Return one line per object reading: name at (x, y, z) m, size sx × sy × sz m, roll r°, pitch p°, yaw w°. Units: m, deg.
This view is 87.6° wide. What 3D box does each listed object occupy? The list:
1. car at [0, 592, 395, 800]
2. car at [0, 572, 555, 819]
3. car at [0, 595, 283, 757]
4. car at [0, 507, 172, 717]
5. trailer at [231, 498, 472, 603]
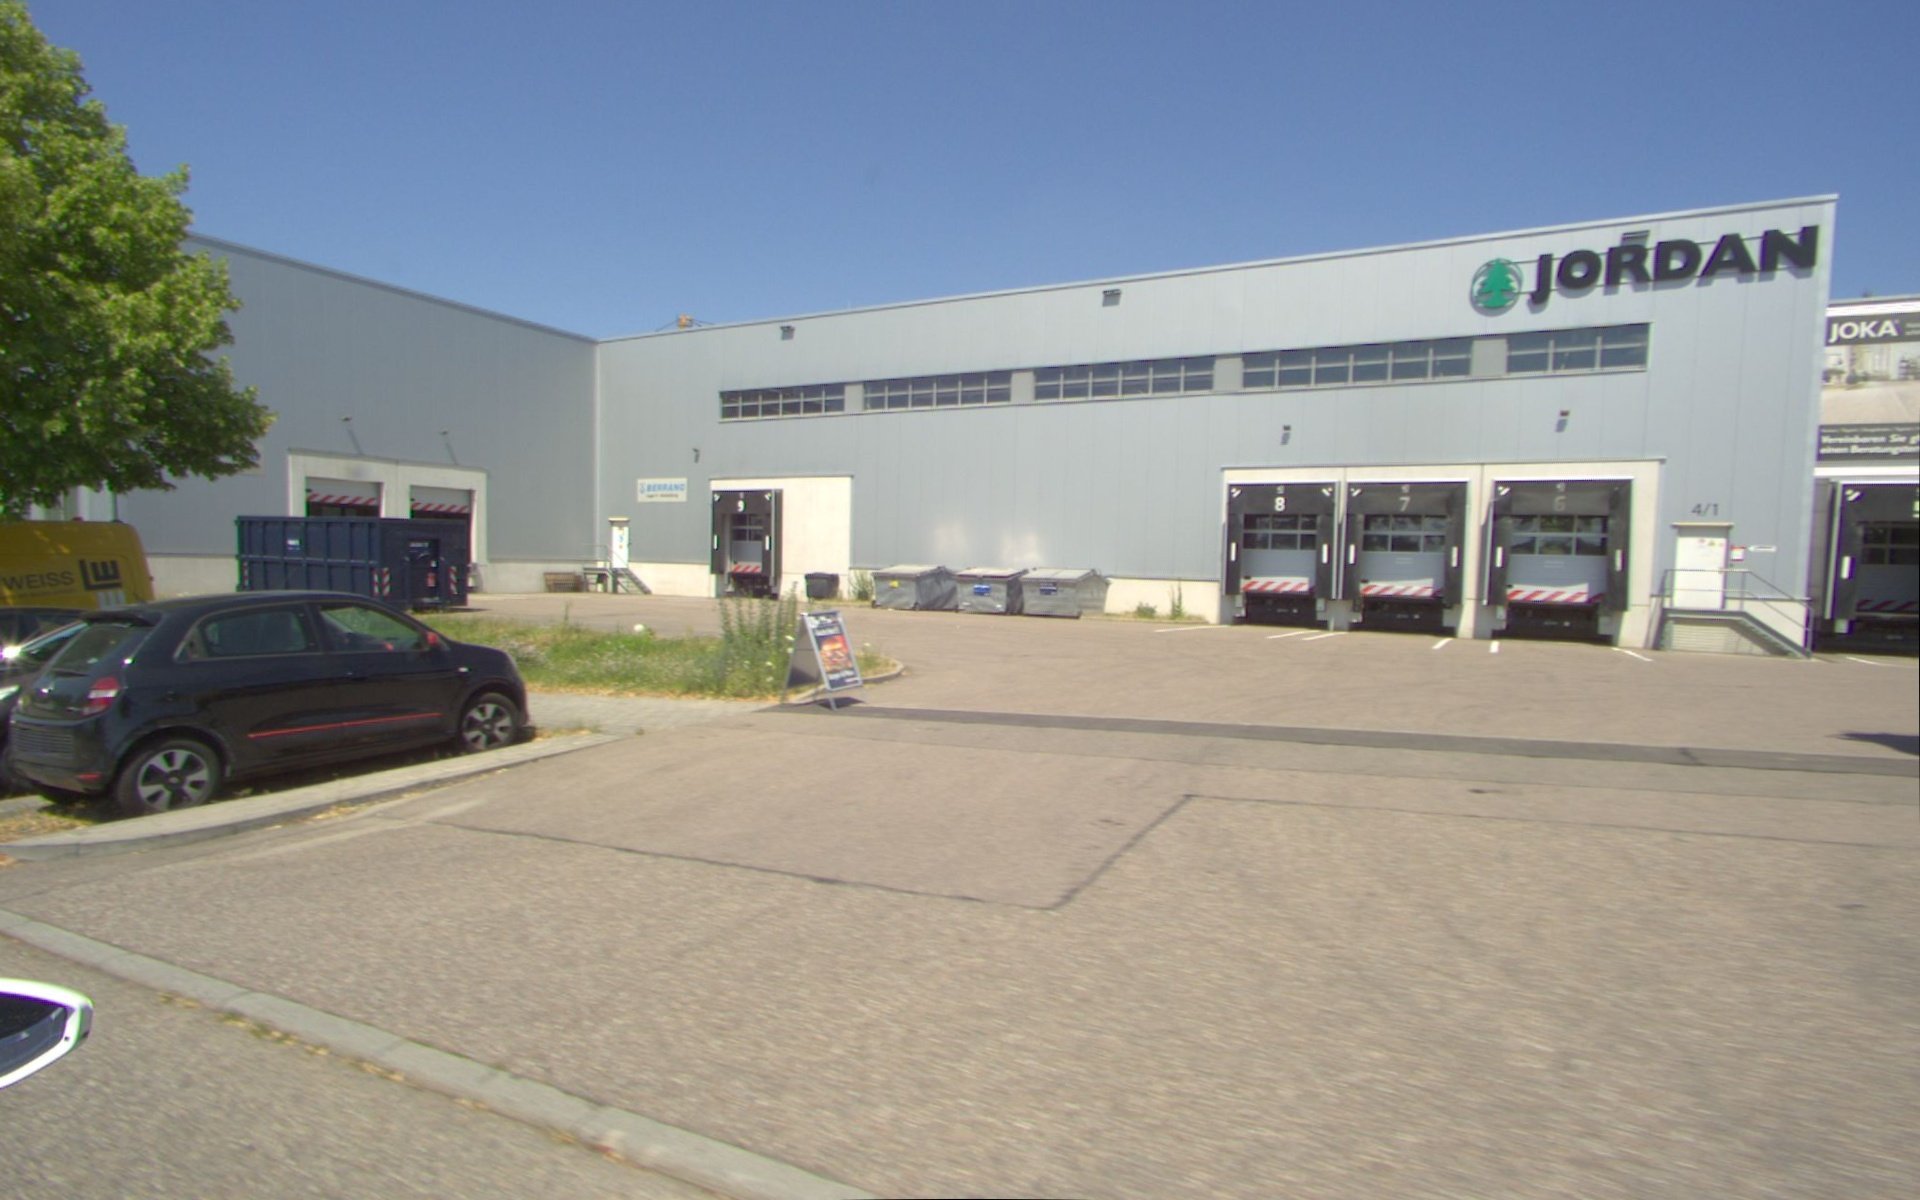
car at (-7.572, 0.741, 9.321) m, size 1.565 × 1.528 × 3.767 m, roll 1°, pitch 2°, yaw 26°
car at (-5.508, 0.571, 8.447) m, size 1.602 × 1.483 × 3.653 m, roll 0°, pitch 4°, yaw 29°
car at (-9.670, 0.744, 10.783) m, size 1.602 × 1.499 × 3.598 m, roll 1°, pitch 2°, yaw 27°
car at (-14.000, 0.182, 12.816) m, size 1.968 × 2.771 × 5.772 m, roll 2°, pitch 4°, yaw 27°
trailer at (-17.109, -1.434, 28.009) m, size 7.300 × 2.454 × 2.654 m, roll 5°, pitch 3°, yaw 31°
